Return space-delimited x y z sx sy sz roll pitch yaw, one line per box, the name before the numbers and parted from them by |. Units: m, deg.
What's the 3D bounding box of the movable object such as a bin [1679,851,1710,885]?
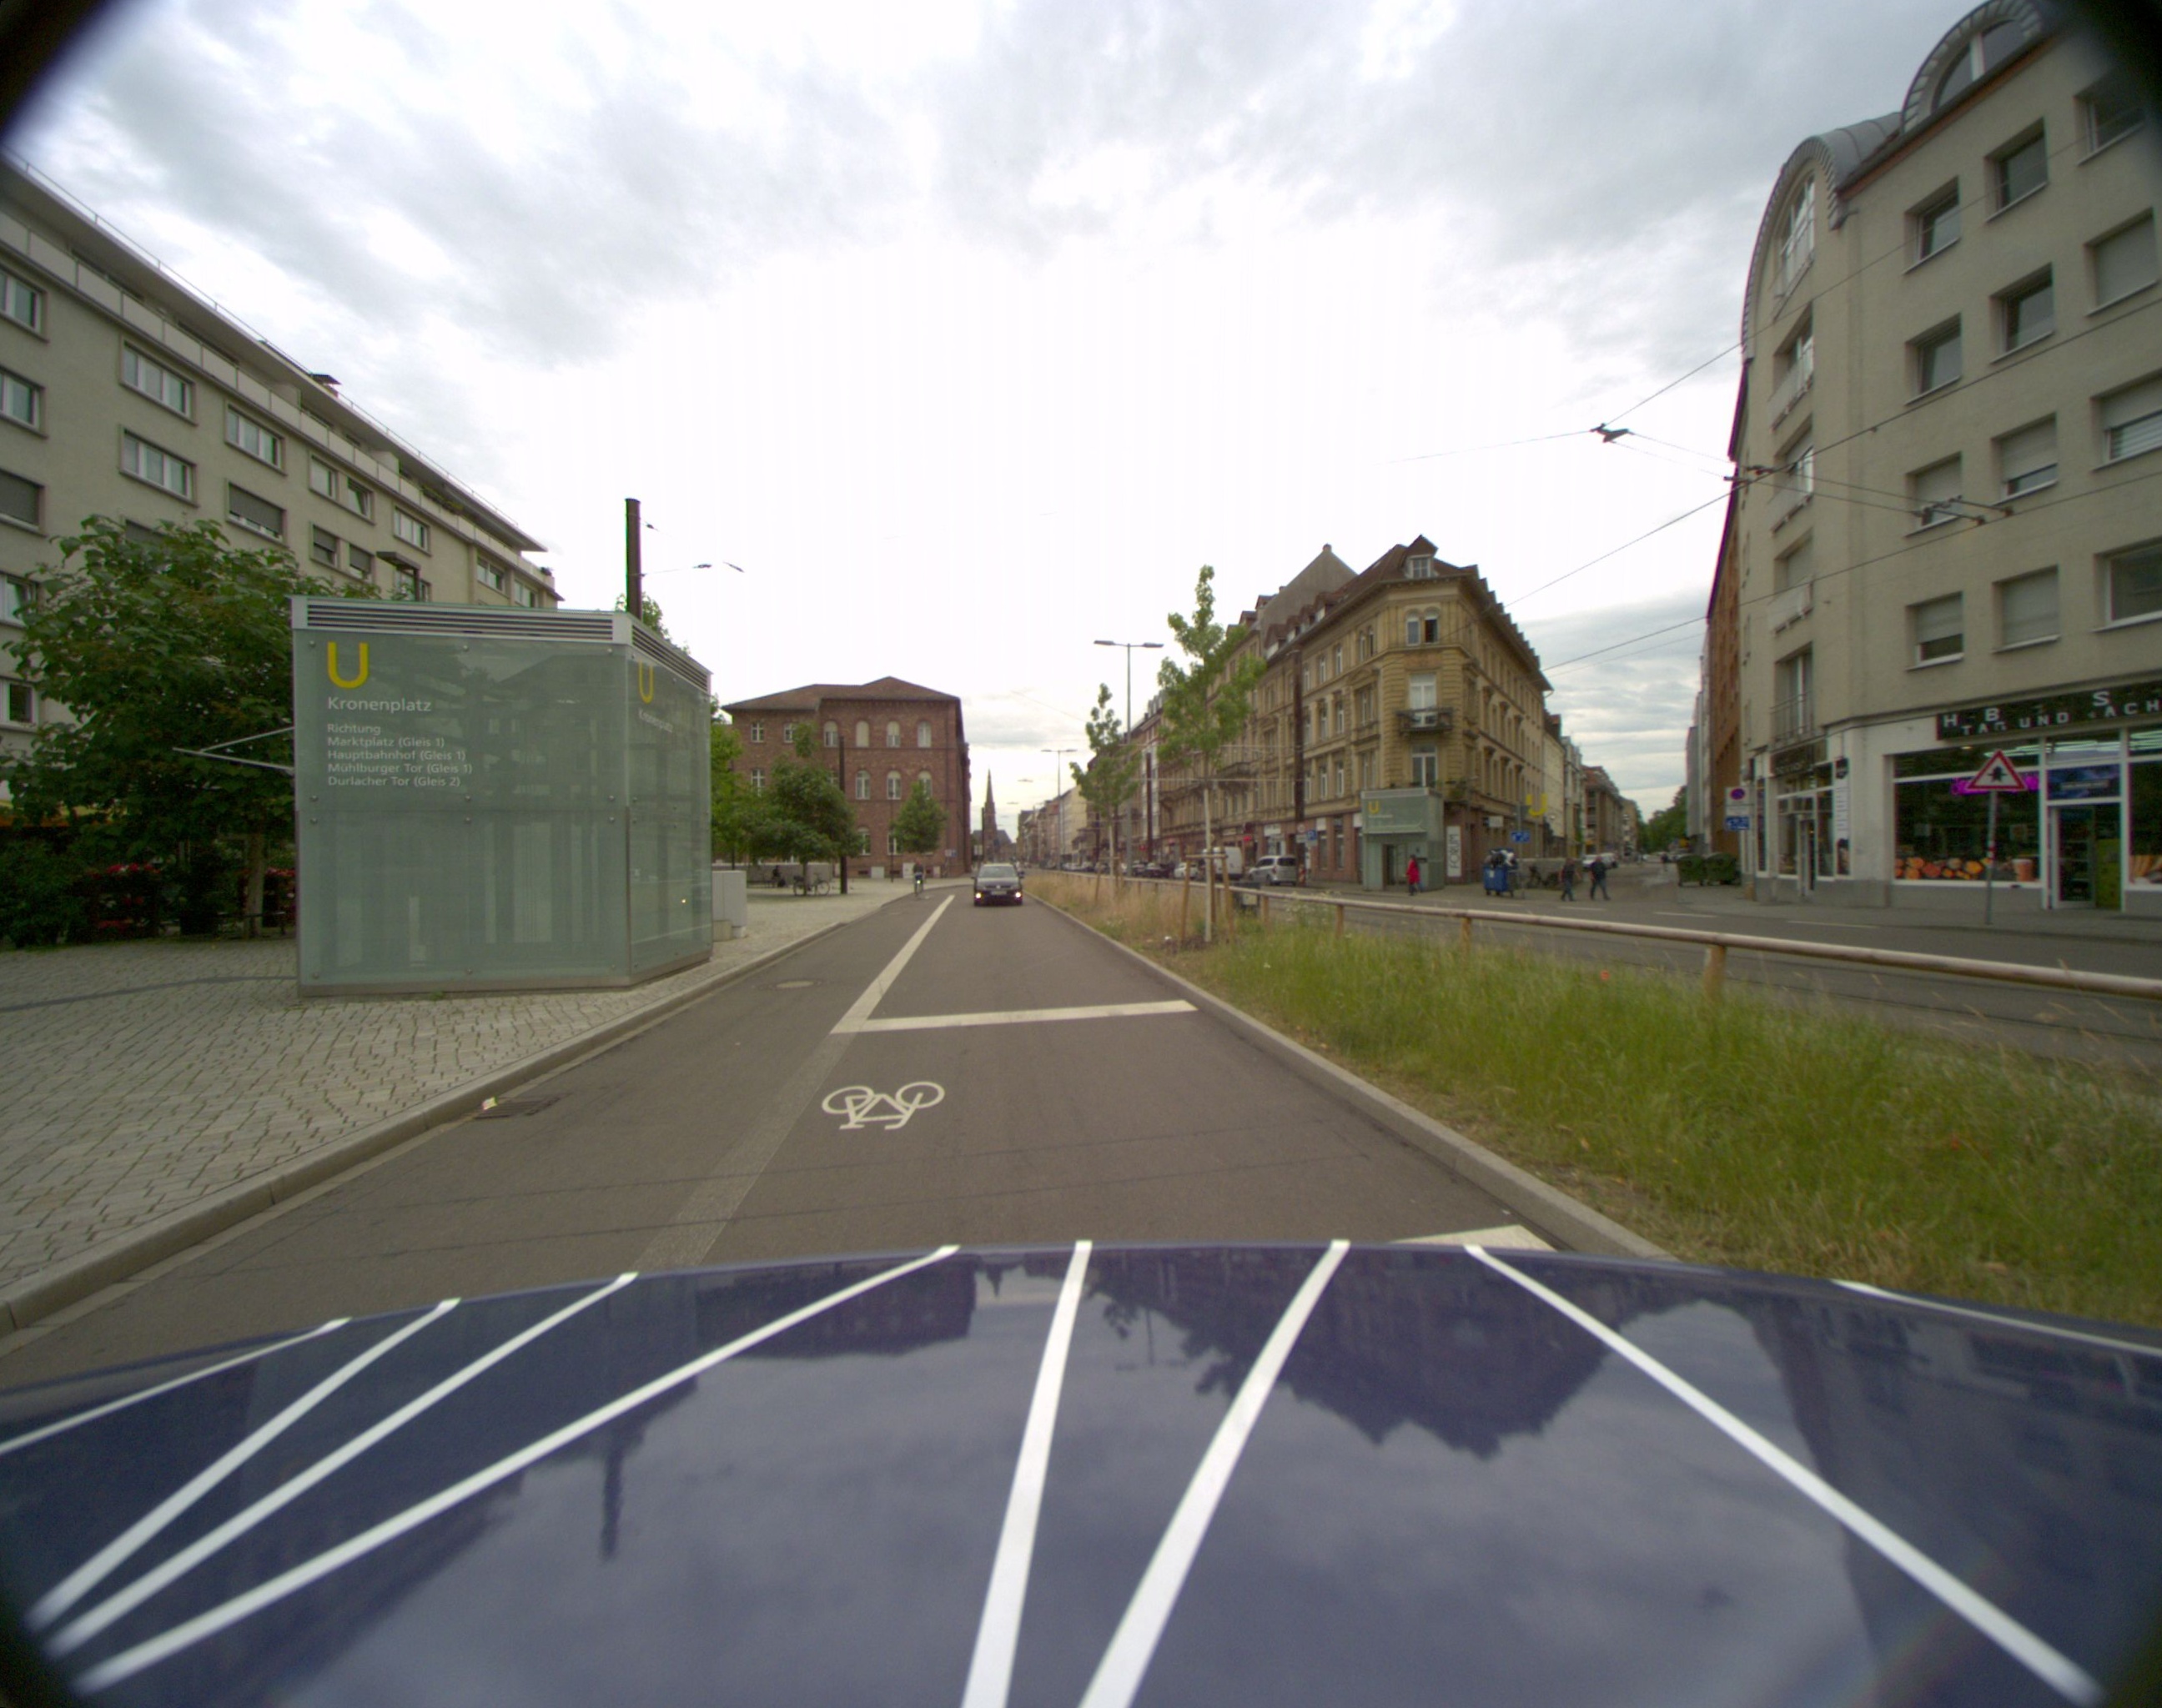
movable object such as a bin | 27.282 0.613 33.796 0.944 1.492 1.241 -2 0 34

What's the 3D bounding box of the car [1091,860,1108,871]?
car | 2.532 1.590 107.037 1.749 1.524 4.223 0 -1 -8

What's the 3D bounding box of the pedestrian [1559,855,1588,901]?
pedestrian | 18.093 0.876 27.928 0.661 1.677 0.723 0 2 8

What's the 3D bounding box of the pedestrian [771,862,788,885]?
pedestrian | -19.135 1.255 48.253 0.782 1.447 0.766 2 0 -37

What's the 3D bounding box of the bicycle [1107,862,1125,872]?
bicycle | 4.543 1.698 98.573 2.289 1.321 0.666 1 0 -7

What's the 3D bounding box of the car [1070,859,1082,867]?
car | -0.955 1.735 140.824 1.830 1.512 4.543 0 -1 -7

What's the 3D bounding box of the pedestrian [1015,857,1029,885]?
pedestrian | -4.024 1.143 51.974 0.872 1.890 0.772 0 0 -9

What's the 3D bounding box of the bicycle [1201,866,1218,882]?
bicycle | 8.312 1.305 49.207 0.478 1.015 1.911 0 0 -9

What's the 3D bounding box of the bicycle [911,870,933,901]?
bicycle | -6.809 1.334 32.544 0.524 1.253 1.941 -1 0 0

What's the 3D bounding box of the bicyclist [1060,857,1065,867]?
bicyclist | -3.429 1.509 140.000 0.647 1.872 1.028 -2 0 -6

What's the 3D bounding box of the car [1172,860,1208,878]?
car | 8.975 1.205 62.949 1.777 1.414 4.162 2 -1 -9

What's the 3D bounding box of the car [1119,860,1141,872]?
car | 5.687 1.403 88.950 1.749 1.479 3.918 0 -1 -8

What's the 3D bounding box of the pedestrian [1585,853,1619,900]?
pedestrian | 19.119 0.828 27.883 0.661 1.677 0.924 0 1 8

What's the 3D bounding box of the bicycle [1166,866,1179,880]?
bicycle | 6.811 1.403 56.569 0.481 1.015 1.910 0 0 -9

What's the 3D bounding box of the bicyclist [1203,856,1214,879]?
bicyclist | 8.276 0.869 49.236 0.493 1.531 0.811 0 0 -9

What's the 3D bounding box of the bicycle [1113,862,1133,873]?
bicycle | 5.140 1.609 92.317 2.289 1.321 0.666 1 0 -7

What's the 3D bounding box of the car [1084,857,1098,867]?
car | 1.551 1.236 117.127 1.749 1.479 3.918 0 -1 -7

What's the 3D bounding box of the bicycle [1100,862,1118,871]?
bicycle | 3.740 1.698 102.541 2.289 1.196 0.704 1 0 -7

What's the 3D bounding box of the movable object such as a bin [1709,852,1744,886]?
movable object such as a bin | 28.101 0.651 33.113 1.008 1.397 1.241 -2 0 34

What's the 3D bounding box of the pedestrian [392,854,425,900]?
pedestrian | -25.991 0.897 29.383 0.773 1.741 0.719 1 0 31

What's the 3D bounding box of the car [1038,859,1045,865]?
car | -10.972 2.285 211.178 1.869 1.553 3.997 1 0 -7

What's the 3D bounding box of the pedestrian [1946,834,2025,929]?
pedestrian | 16.458 0.471 13.835 0.663 1.677 0.721 -1 2 -20

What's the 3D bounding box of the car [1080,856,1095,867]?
car | 1.009 1.230 122.152 1.749 1.662 4.043 0 -1 -8

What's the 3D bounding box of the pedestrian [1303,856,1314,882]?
pedestrian | 13.960 0.921 46.627 0.554 1.547 0.658 -2 0 10

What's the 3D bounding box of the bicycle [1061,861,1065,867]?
bicycle | -3.367 1.865 139.932 0.587 1.167 2.044 1 0 -6

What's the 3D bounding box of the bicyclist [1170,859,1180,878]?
bicyclist | 6.962 1.072 56.374 0.480 1.398 0.811 0 0 -9

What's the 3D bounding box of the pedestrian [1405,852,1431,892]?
pedestrian | 14.289 0.766 32.233 0.824 1.677 0.723 0 2 10

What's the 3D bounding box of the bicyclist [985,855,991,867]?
bicyclist | -9.128 0.697 74.399 0.587 1.164 0.662 -1 0 -8

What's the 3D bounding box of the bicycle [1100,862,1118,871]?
bicycle | 3.790 1.731 103.238 2.289 1.196 0.547 -1 0 -7

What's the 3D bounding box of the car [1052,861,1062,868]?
car | -5.788 2.459 181.434 1.930 1.722 3.824 -2 0 -8

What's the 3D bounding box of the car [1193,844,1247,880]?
car | 10.015 0.586 55.317 2.060 2.472 5.661 1 -1 -9

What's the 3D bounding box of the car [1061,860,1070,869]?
car | -3.258 2.225 160.565 1.708 1.746 3.918 0 0 -6

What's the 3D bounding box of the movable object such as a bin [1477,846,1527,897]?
movable object such as a bin | 16.715 0.677 30.228 1.034 1.970 1.616 0 2 -1

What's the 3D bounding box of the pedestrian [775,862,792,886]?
pedestrian | -18.628 1.241 47.541 0.782 1.447 0.766 2 0 -37

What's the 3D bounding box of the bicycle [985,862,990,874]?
bicycle | -9.160 1.396 74.339 0.472 1.151 2.271 -1 0 -8

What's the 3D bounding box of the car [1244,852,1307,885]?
car | 11.390 0.829 44.797 1.909 1.853 4.517 1 0 -9

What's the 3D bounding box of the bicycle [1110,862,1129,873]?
bicycle | 4.835 1.659 94.930 2.289 1.321 0.666 1 0 -7

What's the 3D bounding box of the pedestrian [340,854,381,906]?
pedestrian | -26.425 0.948 27.886 0.774 1.874 0.854 -2 0 31

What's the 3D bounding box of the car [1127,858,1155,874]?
car | 6.393 1.279 81.291 1.819 1.679 5.027 0 -1 -10

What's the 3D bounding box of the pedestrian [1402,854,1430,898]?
pedestrian | 13.191 0.857 29.922 0.723 1.677 0.661 -1 2 -18

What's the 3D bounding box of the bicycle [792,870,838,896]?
bicycle | -12.452 1.363 35.611 1.918 1.116 0.645 -2 0 3

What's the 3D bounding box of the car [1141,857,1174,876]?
car | 7.239 1.186 72.251 1.926 1.679 5.048 2 -1 -9

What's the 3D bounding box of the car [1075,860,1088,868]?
car | 0.007 1.738 136.017 1.749 1.456 4.043 0 -1 -8

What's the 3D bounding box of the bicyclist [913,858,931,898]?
bicyclist | -6.794 1.020 32.549 0.570 1.674 0.793 -1 0 0

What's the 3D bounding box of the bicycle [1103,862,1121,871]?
bicycle | 4.135 1.669 101.284 2.289 1.196 0.704 1 0 -7

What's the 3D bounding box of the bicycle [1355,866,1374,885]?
bicycle | 15.414 1.153 41.309 0.341 0.953 1.687 -2 0 0
